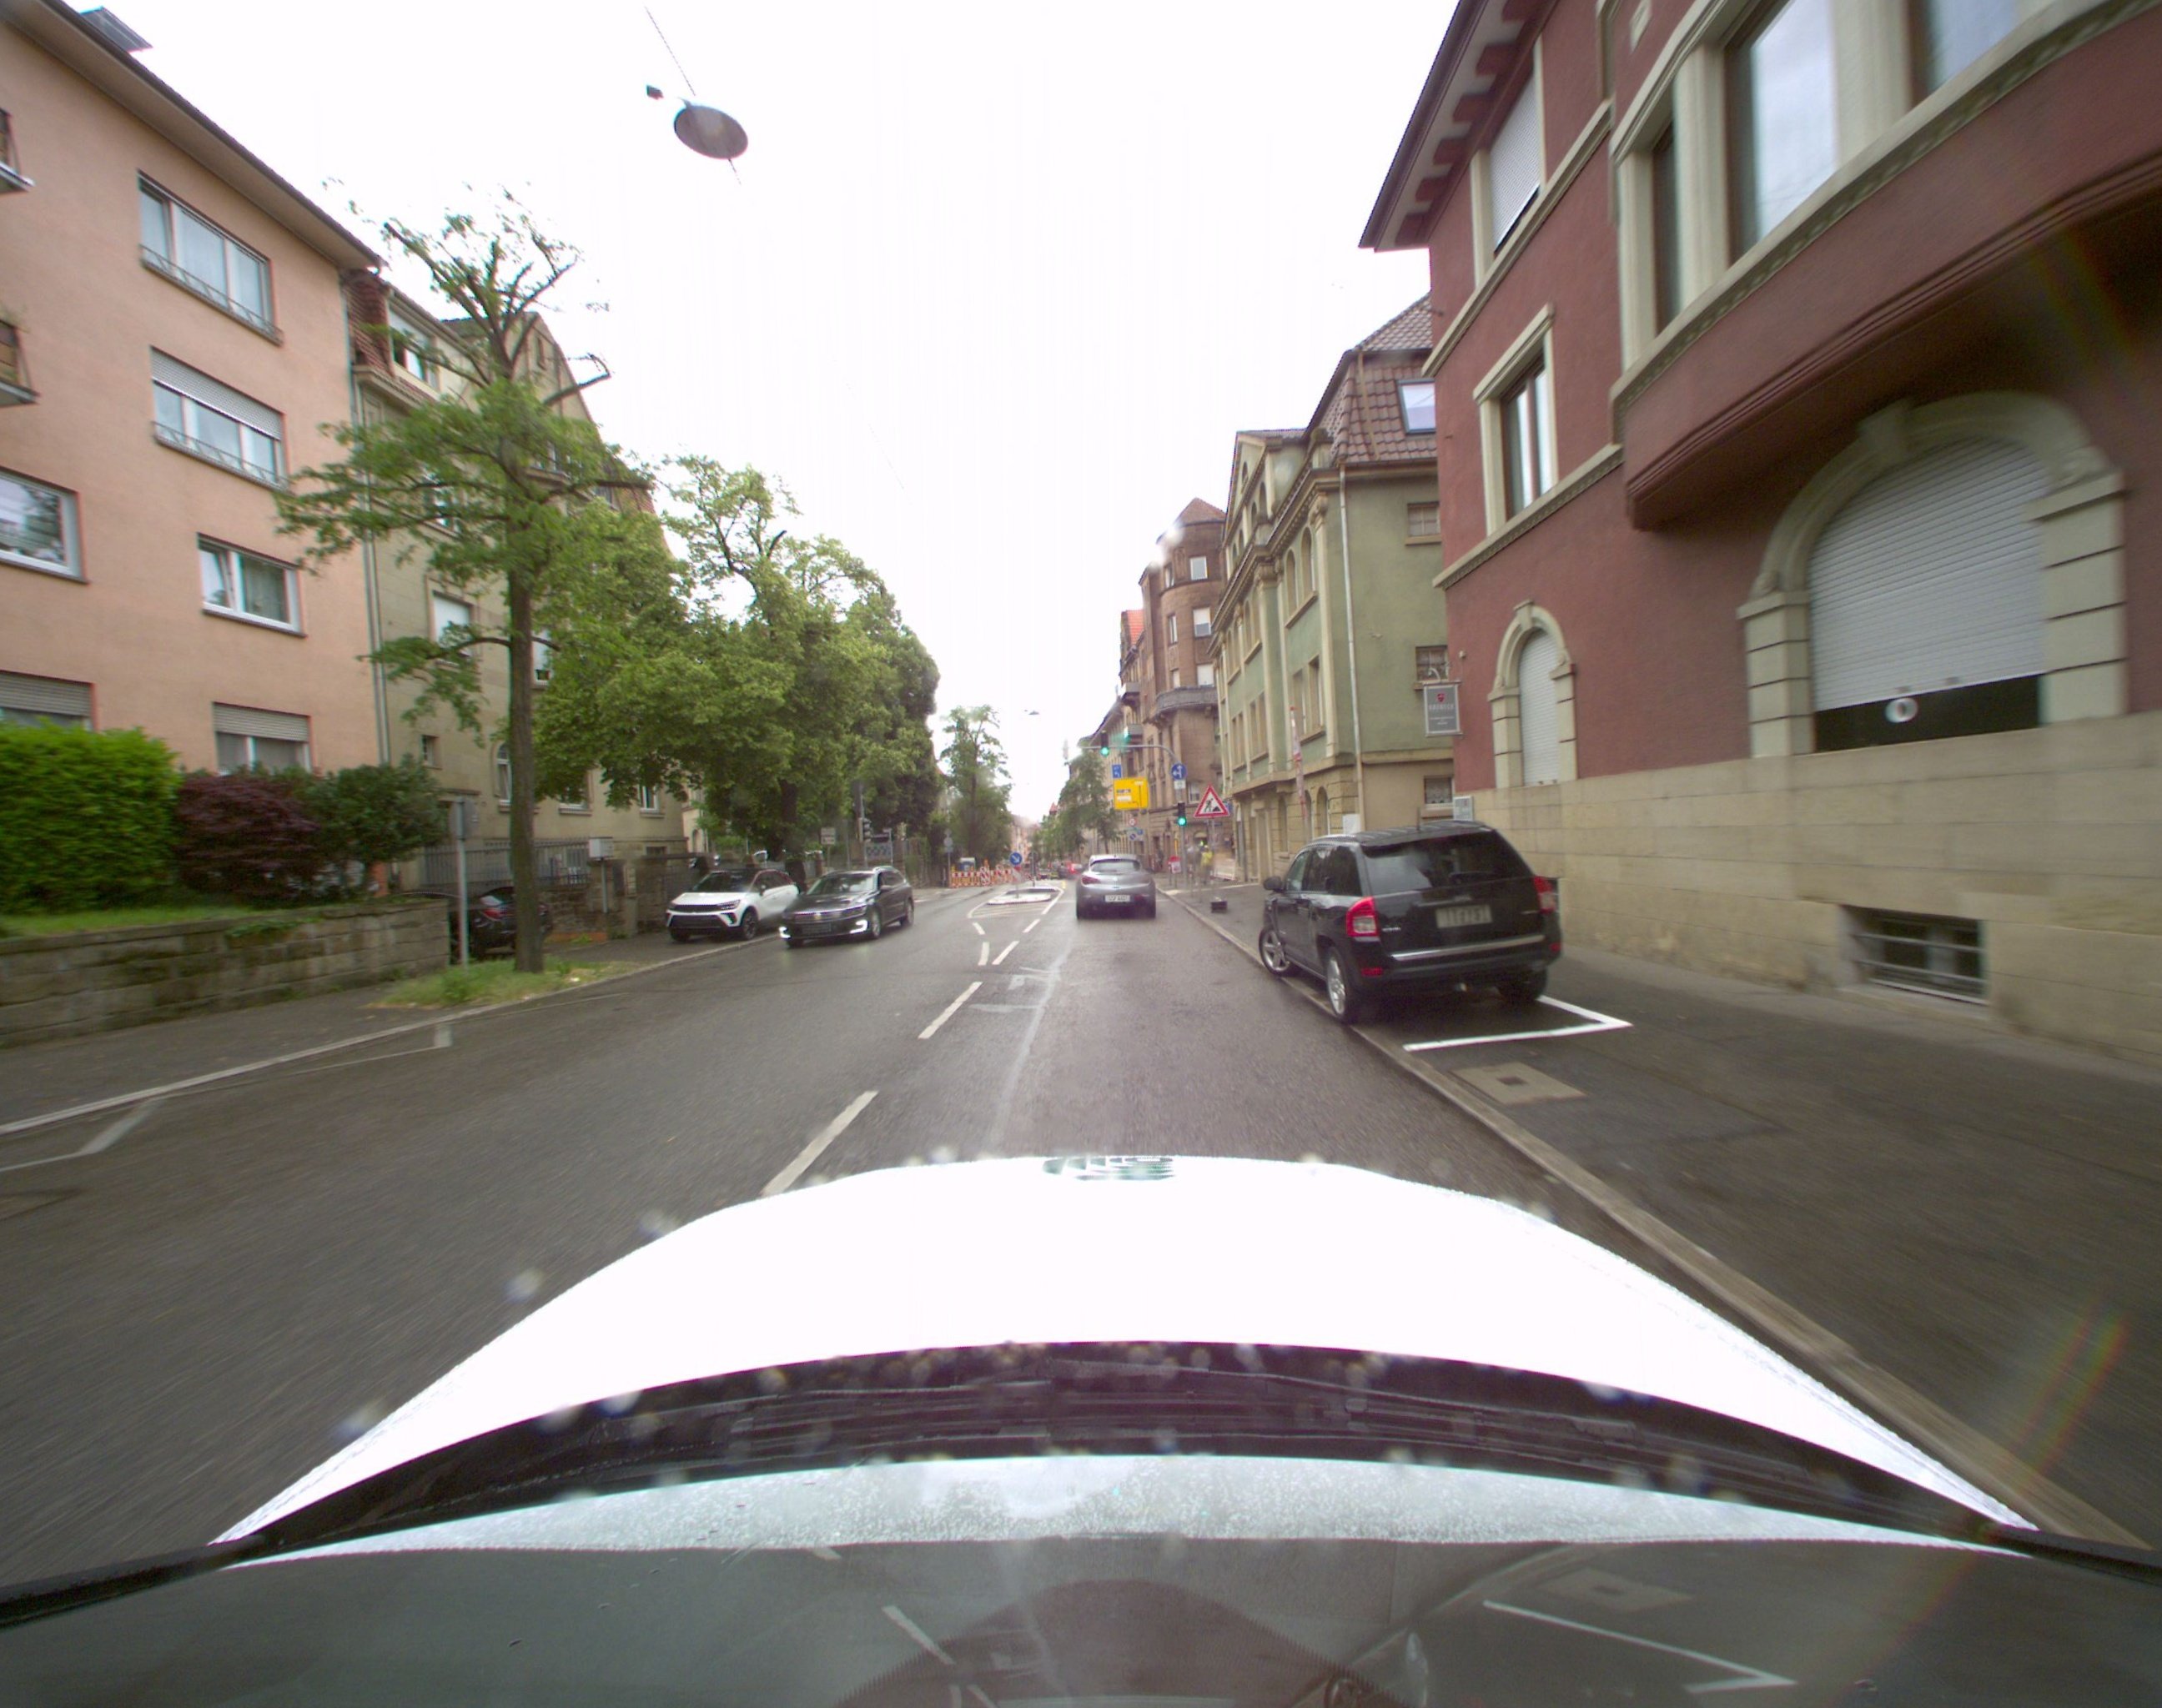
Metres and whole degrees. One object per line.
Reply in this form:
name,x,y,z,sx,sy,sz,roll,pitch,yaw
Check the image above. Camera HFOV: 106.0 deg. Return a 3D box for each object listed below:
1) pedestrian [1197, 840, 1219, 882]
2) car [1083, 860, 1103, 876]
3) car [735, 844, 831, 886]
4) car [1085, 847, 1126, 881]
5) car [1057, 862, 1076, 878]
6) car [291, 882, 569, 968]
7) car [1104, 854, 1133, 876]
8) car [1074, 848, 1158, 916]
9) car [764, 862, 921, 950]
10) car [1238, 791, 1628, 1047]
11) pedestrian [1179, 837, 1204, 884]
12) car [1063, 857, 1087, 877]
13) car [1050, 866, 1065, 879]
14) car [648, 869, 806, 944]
pedestrian,5.045,0.284,32.294,0.592,1.584,0.669,-5,0,20
car,1.201,1.486,84.992,1.636,1.520,3.176,-6,-1,-6
car,-16.500,0.581,45.121,4.627,2.048,2.034,3,2,16
car,1.136,0.498,38.845,1.767,1.504,3.867,-2,-1,-1
car,-1.535,1.674,85.475,1.654,1.543,3.658,-5,-1,-5
car,-12.813,1.372,16.230,3.974,1.326,1.837,-3,0,0
car,2.877,0.873,63.367,1.654,1.543,3.658,-5,-1,-5
car,0.862,0.656,19.871,1.804,1.449,3.872,-2,-1,3
car,-4.947,1.000,17.623,1.808,1.517,4.550,-4,0,2
car,2.932,0.499,8.116,1.869,1.629,4.700,-6,-1,2
pedestrian,4.400,0.246,32.459,0.712,1.774,0.669,-5,0,20
car,-0.542,1.125,70.161,1.654,1.543,3.658,-5,-1,-5
car,-3.042,2.369,105.785,1.654,1.543,3.658,-5,-1,-5
car,-8.247,1.152,19.459,1.734,1.559,4.304,-1,-1,2
